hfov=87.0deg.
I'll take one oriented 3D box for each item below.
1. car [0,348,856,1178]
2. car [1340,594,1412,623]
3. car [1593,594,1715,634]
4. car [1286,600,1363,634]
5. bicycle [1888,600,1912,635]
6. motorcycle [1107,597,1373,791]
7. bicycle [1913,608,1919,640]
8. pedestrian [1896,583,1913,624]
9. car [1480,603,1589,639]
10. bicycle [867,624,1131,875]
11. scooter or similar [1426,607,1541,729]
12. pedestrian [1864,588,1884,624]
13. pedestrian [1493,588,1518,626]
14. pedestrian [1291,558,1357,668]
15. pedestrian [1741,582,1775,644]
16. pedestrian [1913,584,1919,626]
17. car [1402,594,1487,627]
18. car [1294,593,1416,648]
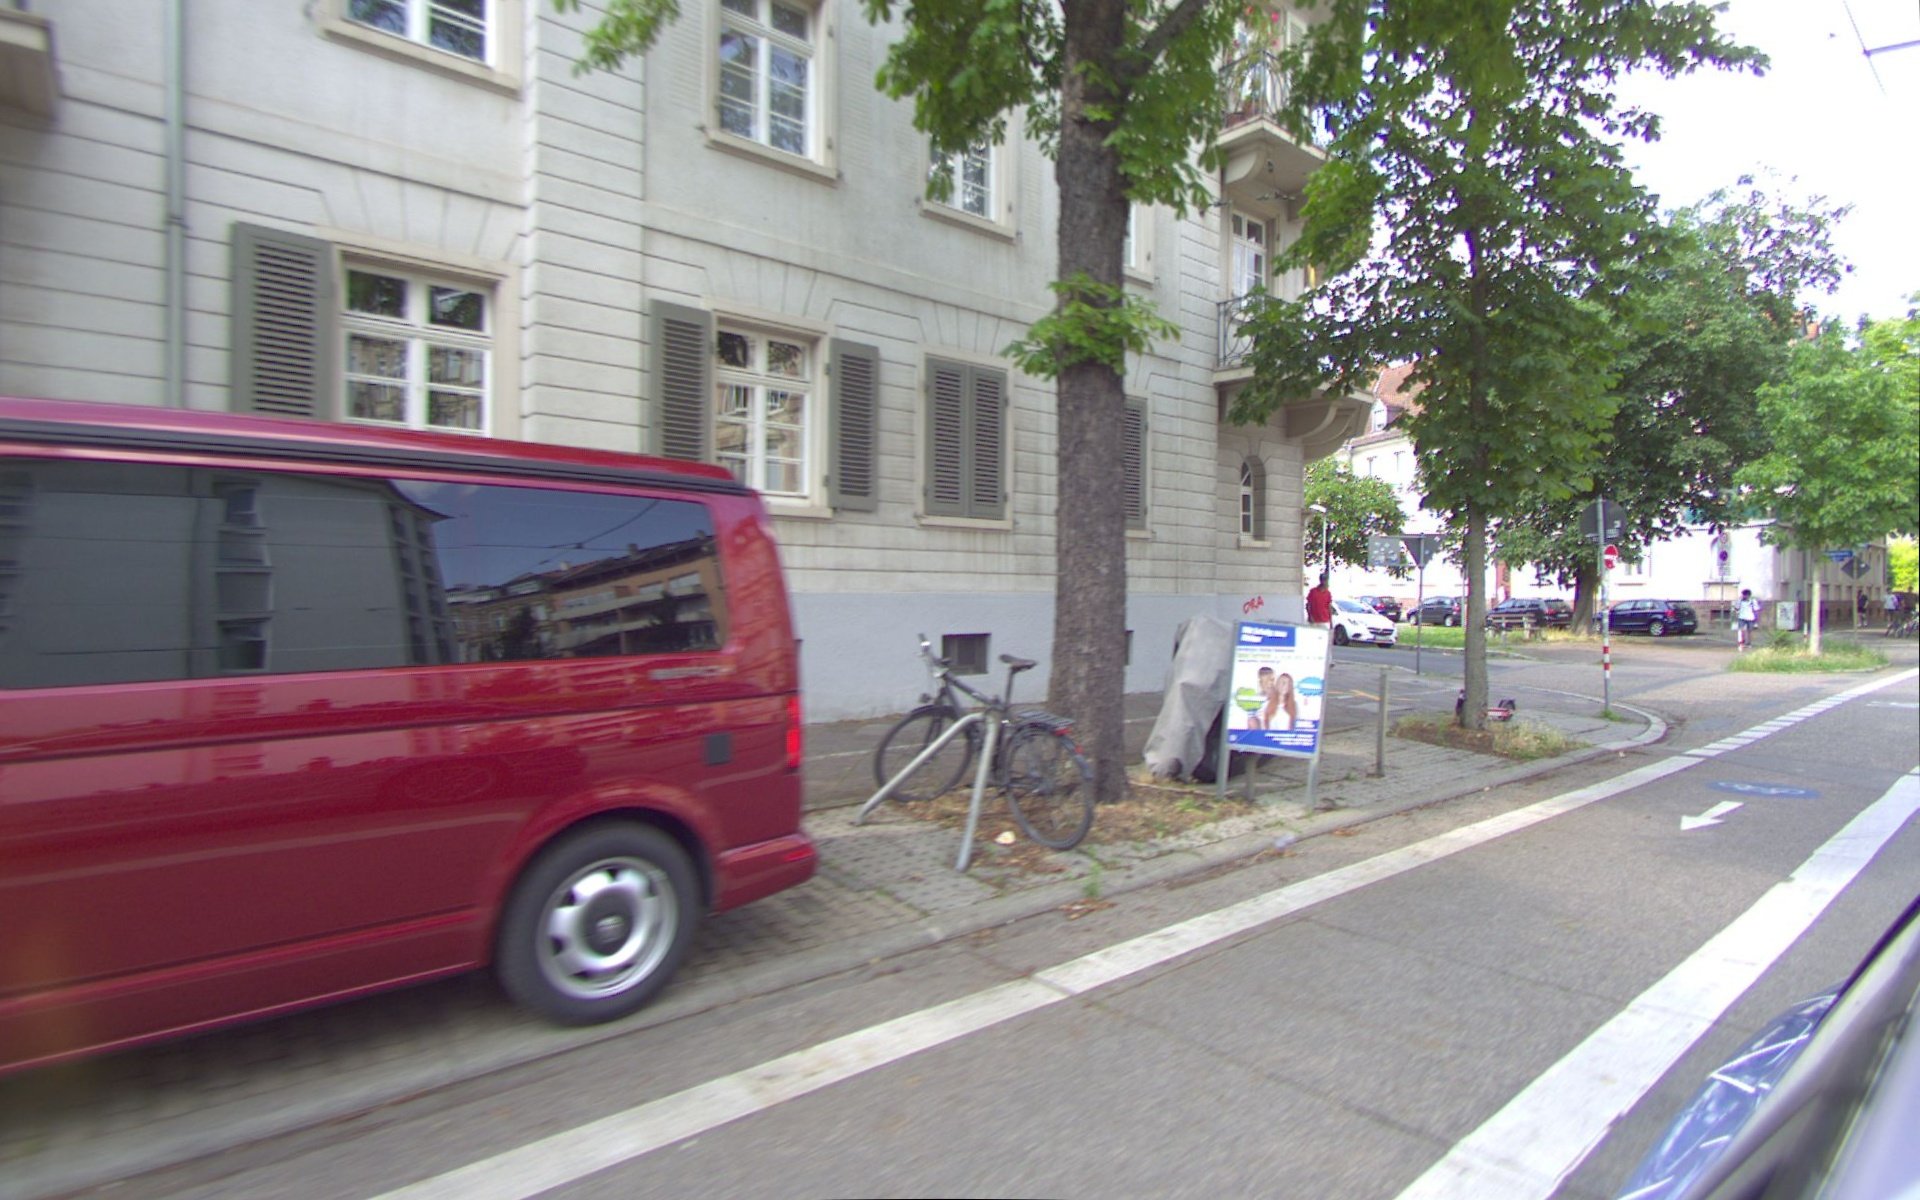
[{"bbox_3d":[-2.867,0.372,3.135,4.864,1.965,1.899,0,1,-41],"label":"car"},{"bbox_3d":[22.812,0.434,55.652,1.695,1.530,3.939,0,0,-13],"label":"car"},{"bbox_3d":[26.648,0.509,38.982,1.695,1.470,3.582,0,0,-17],"label":"car"},{"bbox_3d":[18.243,0.821,50.783,1.696,1.530,3.939,-3,1,-13],"label":"car"},{"bbox_3d":[32.820,0.597,35.334,0.584,1.173,1.808,0,0,42],"label":"bicycle"},{"bbox_3d":[2.311,0.653,8.142,2.401,1.338,0.859,0,0,-40],"label":"motorcycle"},{"bbox_3d":[33.584,0.834,34.691,0.470,1.079,1.270,0,0,-40],"label":"bicycle"},{"bbox_3d":[43.168,0.169,46.250,0.675,1.876,0.505,0,0,-41],"label":"pedestrian"},{"bbox_3d":[25.194,0.874,44.557,1.695,1.470,4.265,0,0,-13],"label":"car"},{"bbox_3d":[0.178,0.777,5.920,0.580,1.218,1.612,0,0,-43],"label":"bicycle"},{"bbox_3d":[5.935,0.722,11.436,1.689,1.267,0.533,0,1,-40],"label":"scooter or similar"},{"bbox_3d":[41.925,0.275,46.427,0.959,1.660,0.581,0,0,-41],"label":"pedestrian"},{"bbox_3d":[27.065,0.326,50.241,0.810,1.857,0.732,0,0,-10],"label":"pedestrian"},{"bbox_3d":[6.838,0.239,19.086,0.888,1.961,0.974,5,-1,11],"label":"pedestrian"},{"bbox_3d":[24.422,0.387,30.966,1.012,1.857,0.619,0,0,-39],"label":"pedestrian"},{"bbox_3d":[43.639,0.219,45.711,0.870,1.913,0.755,0,0,-41],"label":"pedestrian"},{"bbox_3d":[24.036,0.489,50.355,1.695,1.530,3.939,0,0,-13],"label":"car"},{"bbox_3d":[12.062,0.585,31.142,1.694,1.517,3.627,3,0,-14],"label":"car"}]
